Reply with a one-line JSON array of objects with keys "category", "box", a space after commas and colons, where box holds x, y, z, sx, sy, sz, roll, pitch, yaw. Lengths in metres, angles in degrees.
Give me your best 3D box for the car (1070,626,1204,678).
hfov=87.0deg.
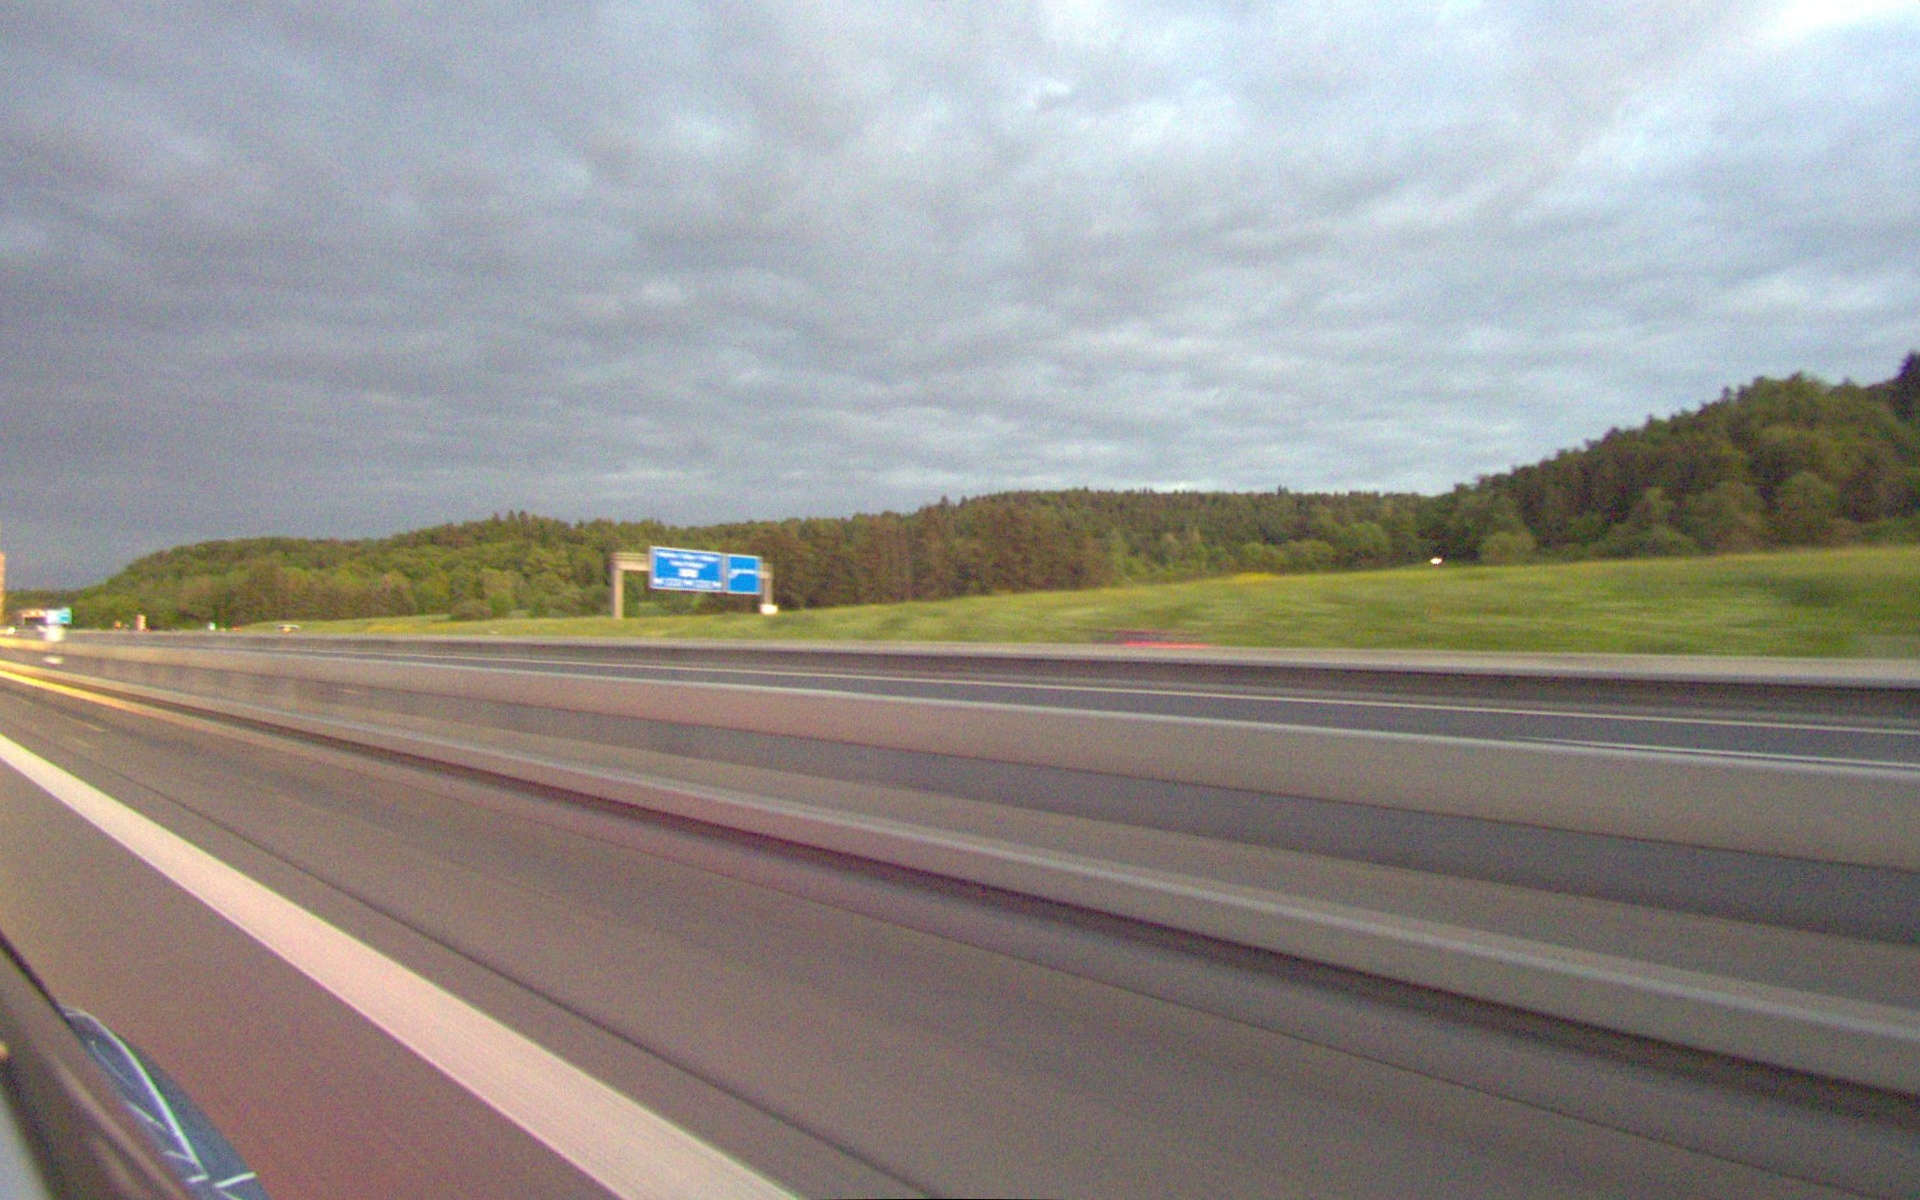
[{"category": "car", "box": [5.465, 1.583, 31.527, 3.808, 1.505, 1.651, -2, -2, 41]}]
